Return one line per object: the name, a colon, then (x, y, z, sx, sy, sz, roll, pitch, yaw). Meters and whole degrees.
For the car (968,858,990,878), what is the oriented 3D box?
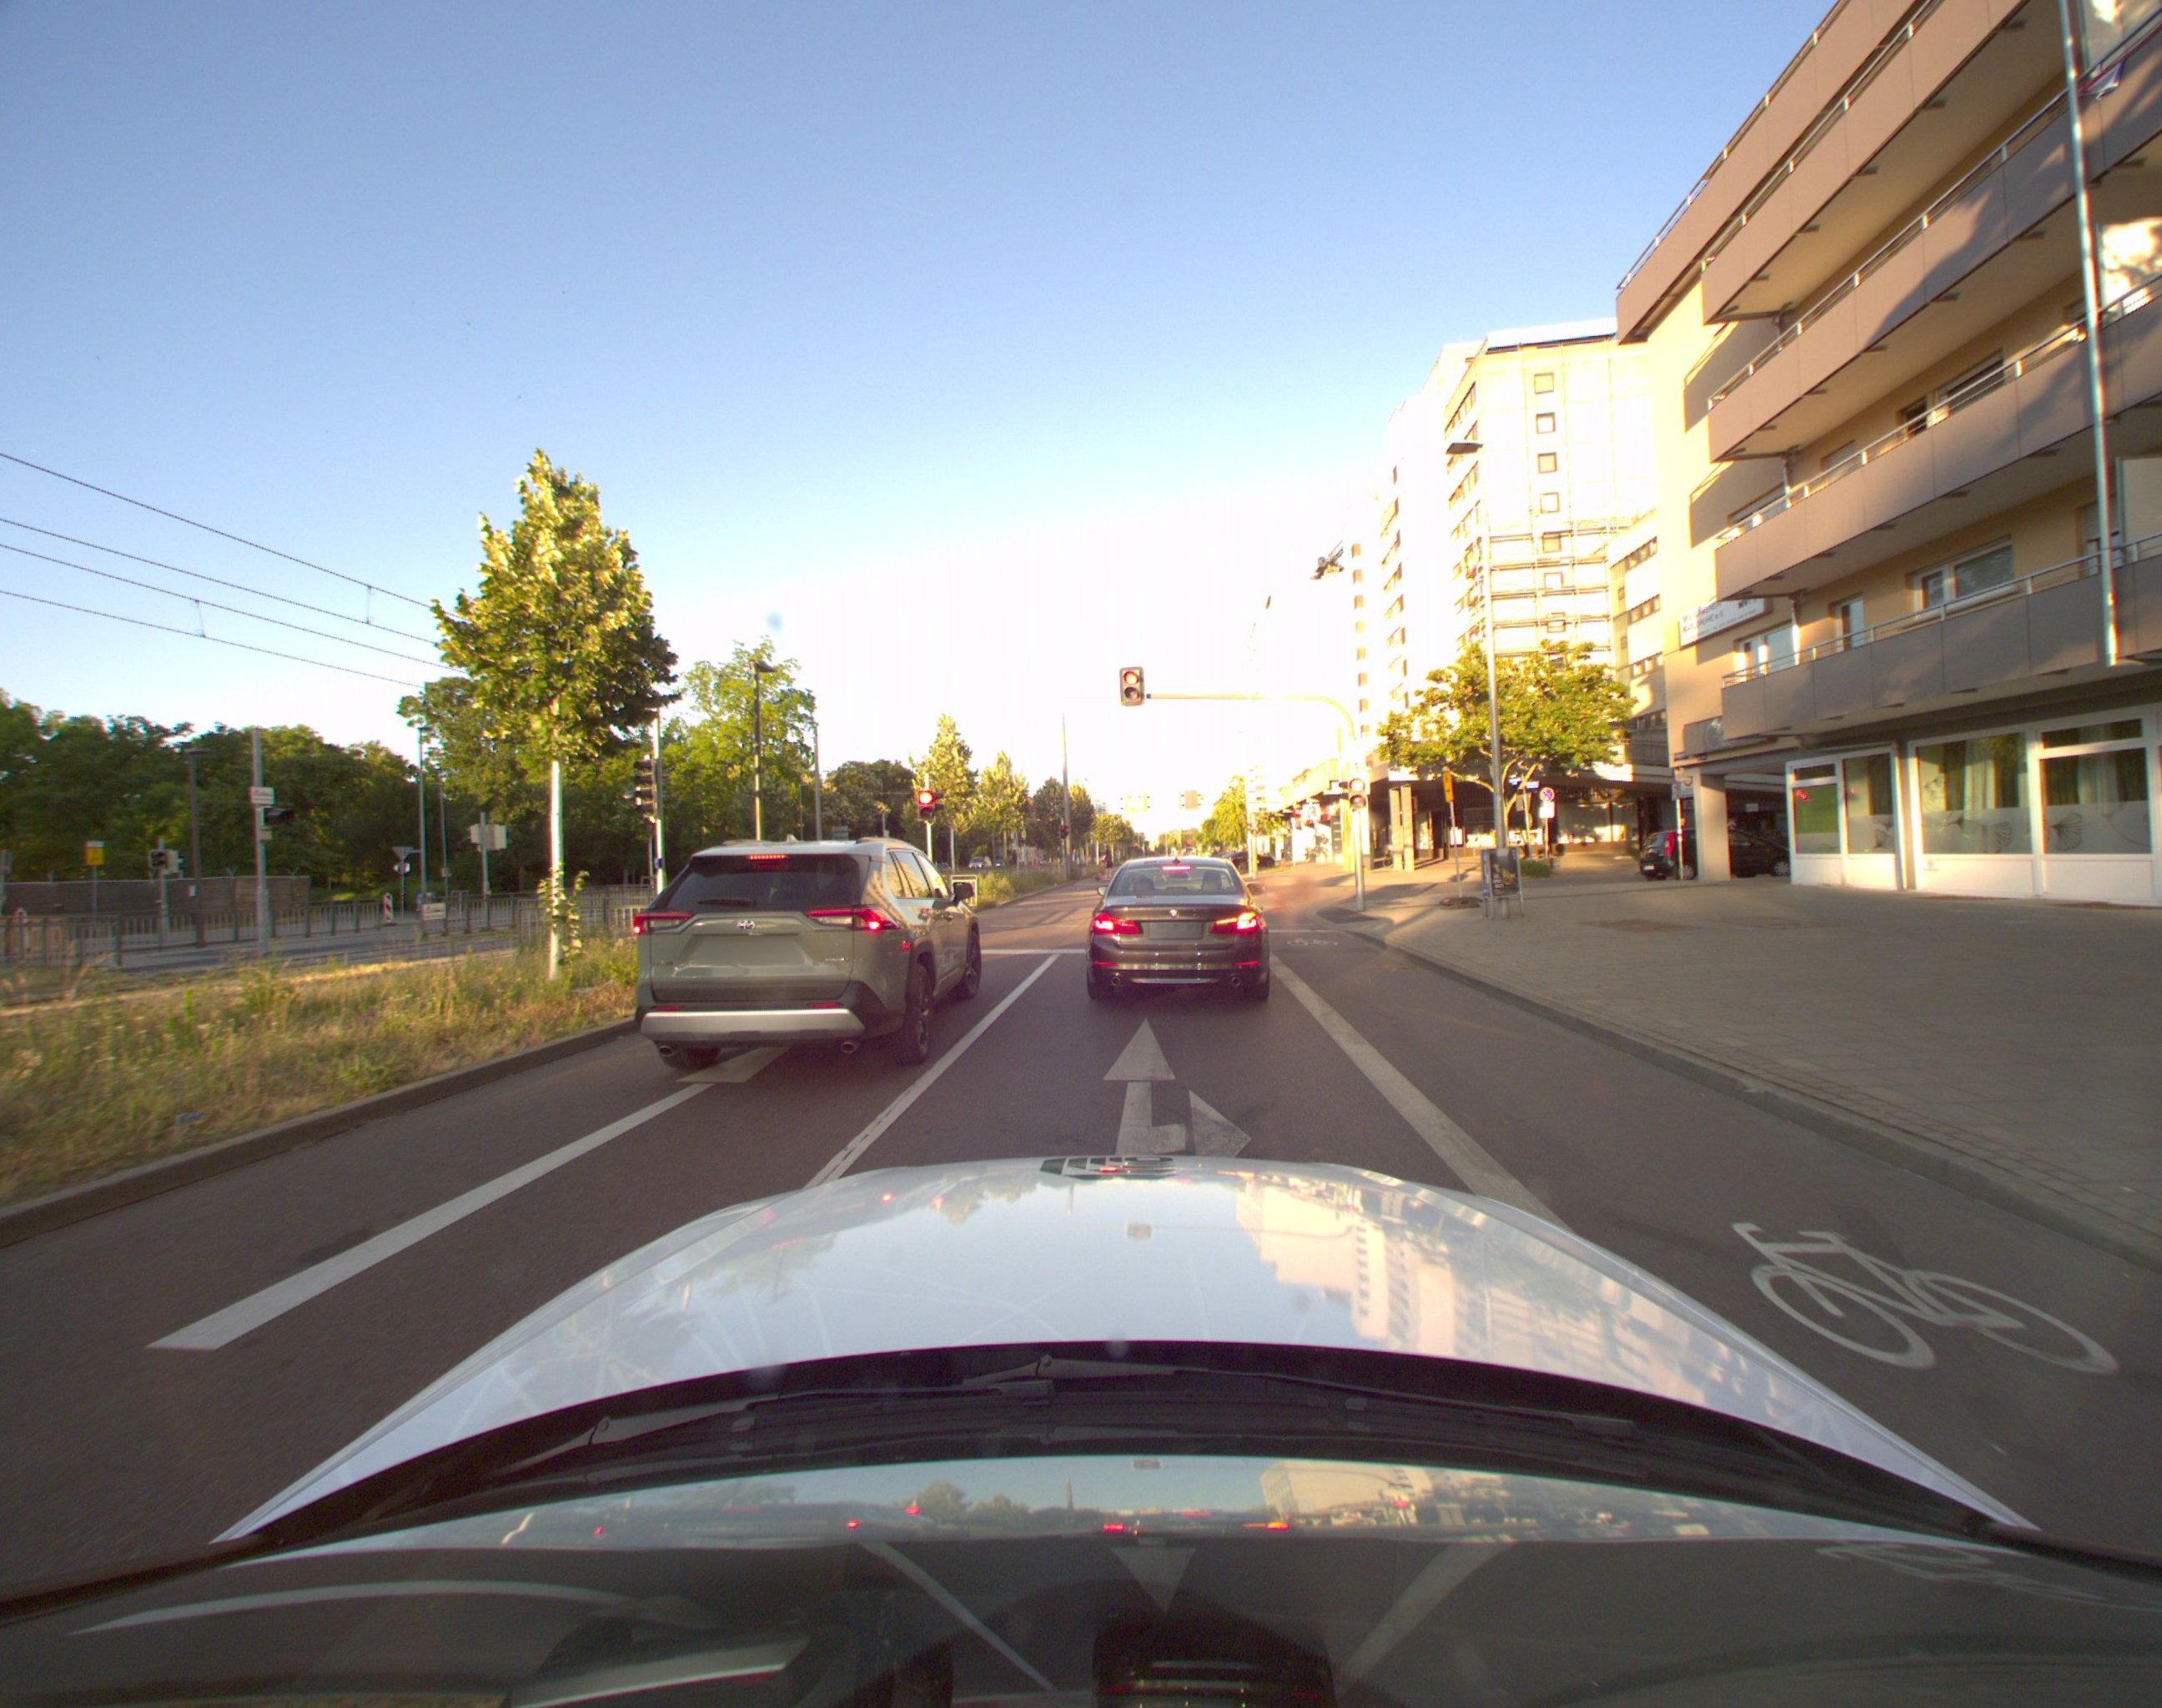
car: (-12.191, 1.627, 97.381, 1.987, 2.168, 4.751, -1, 1, 0)

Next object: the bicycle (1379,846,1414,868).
bicycle: (16.777, 0.180, 43.363, 0.689, 1.149, 2.014, 1, -1, -13)

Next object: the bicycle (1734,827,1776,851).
bicycle: (31.797, -0.698, 38.474, 0.577, 1.075, 1.981, 0, -1, 8)

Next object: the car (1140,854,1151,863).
car: (11.909, 0.811, 149.786, 1.969, 1.433, 4.850, -1, 1, 5)

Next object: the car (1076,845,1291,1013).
car: (1.178, 0.667, 9.678, 1.922, 1.481, 4.531, -1, 1, 6)

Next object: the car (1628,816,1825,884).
car: (18.452, -0.073, 23.469, 4.016, 1.585, 1.710, -4, -4, 9)

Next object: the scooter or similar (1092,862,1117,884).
scooter or similar: (1.327, 1.033, 45.205, 1.324, 1.153, 0.514, -3, -1, 2)

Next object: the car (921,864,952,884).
car: (-14.470, 1.978, 81.763, 1.985, 1.744, 4.756, -1, 1, 4)

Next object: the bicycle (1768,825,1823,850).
bicycle: (33.881, -0.767, 38.654, 0.581, 1.075, 1.968, 1, -1, -14)

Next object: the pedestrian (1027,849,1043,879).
pedestrian: (-2.736, 0.579, 48.404, 0.831, 1.712, 0.648, -3, -1, 4)

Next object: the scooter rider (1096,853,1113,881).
scooter rider: (1.312, 0.741, 45.239, 0.817, 1.514, 0.653, -3, -1, 2)

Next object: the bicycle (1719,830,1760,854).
bicycle: (31.077, -0.567, 38.445, 0.577, 1.075, 1.981, 0, -1, 8)

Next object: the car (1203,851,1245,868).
car: (15.366, 0.564, 87.466, 4.281, 1.658, 1.843, -2, 1, -30)

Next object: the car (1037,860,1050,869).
car: (-6.601, 1.816, 143.728, 1.791, 1.481, 3.789, -2, 0, 6)

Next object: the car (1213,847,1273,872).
car: (11.795, 0.391, 59.176, 4.288, 1.658, 1.840, -2, 1, -37)

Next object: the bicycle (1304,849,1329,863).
bicycle: (20.469, 0.165, 70.826, 2.003, 1.149, 0.693, 0, -1, 11)

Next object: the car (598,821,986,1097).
car: (-2.028, 0.609, 7.160, 1.849, 1.658, 4.268, -1, 1, 0)

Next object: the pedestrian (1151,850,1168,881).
pedestrian: (4.142, 0.591, 42.873, 0.831, 1.586, 0.813, -3, -1, 6)

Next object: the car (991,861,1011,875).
car: (-10.827, 1.881, 110.478, 1.985, 1.744, 4.756, -1, 1, 4)

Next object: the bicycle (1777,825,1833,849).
bicycle: (34.360, -0.784, 38.687, 0.582, 1.075, 1.965, 1, -1, -18)

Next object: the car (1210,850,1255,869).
car: (15.133, 0.526, 81.182, 4.282, 1.658, 1.842, -2, 1, -31)
